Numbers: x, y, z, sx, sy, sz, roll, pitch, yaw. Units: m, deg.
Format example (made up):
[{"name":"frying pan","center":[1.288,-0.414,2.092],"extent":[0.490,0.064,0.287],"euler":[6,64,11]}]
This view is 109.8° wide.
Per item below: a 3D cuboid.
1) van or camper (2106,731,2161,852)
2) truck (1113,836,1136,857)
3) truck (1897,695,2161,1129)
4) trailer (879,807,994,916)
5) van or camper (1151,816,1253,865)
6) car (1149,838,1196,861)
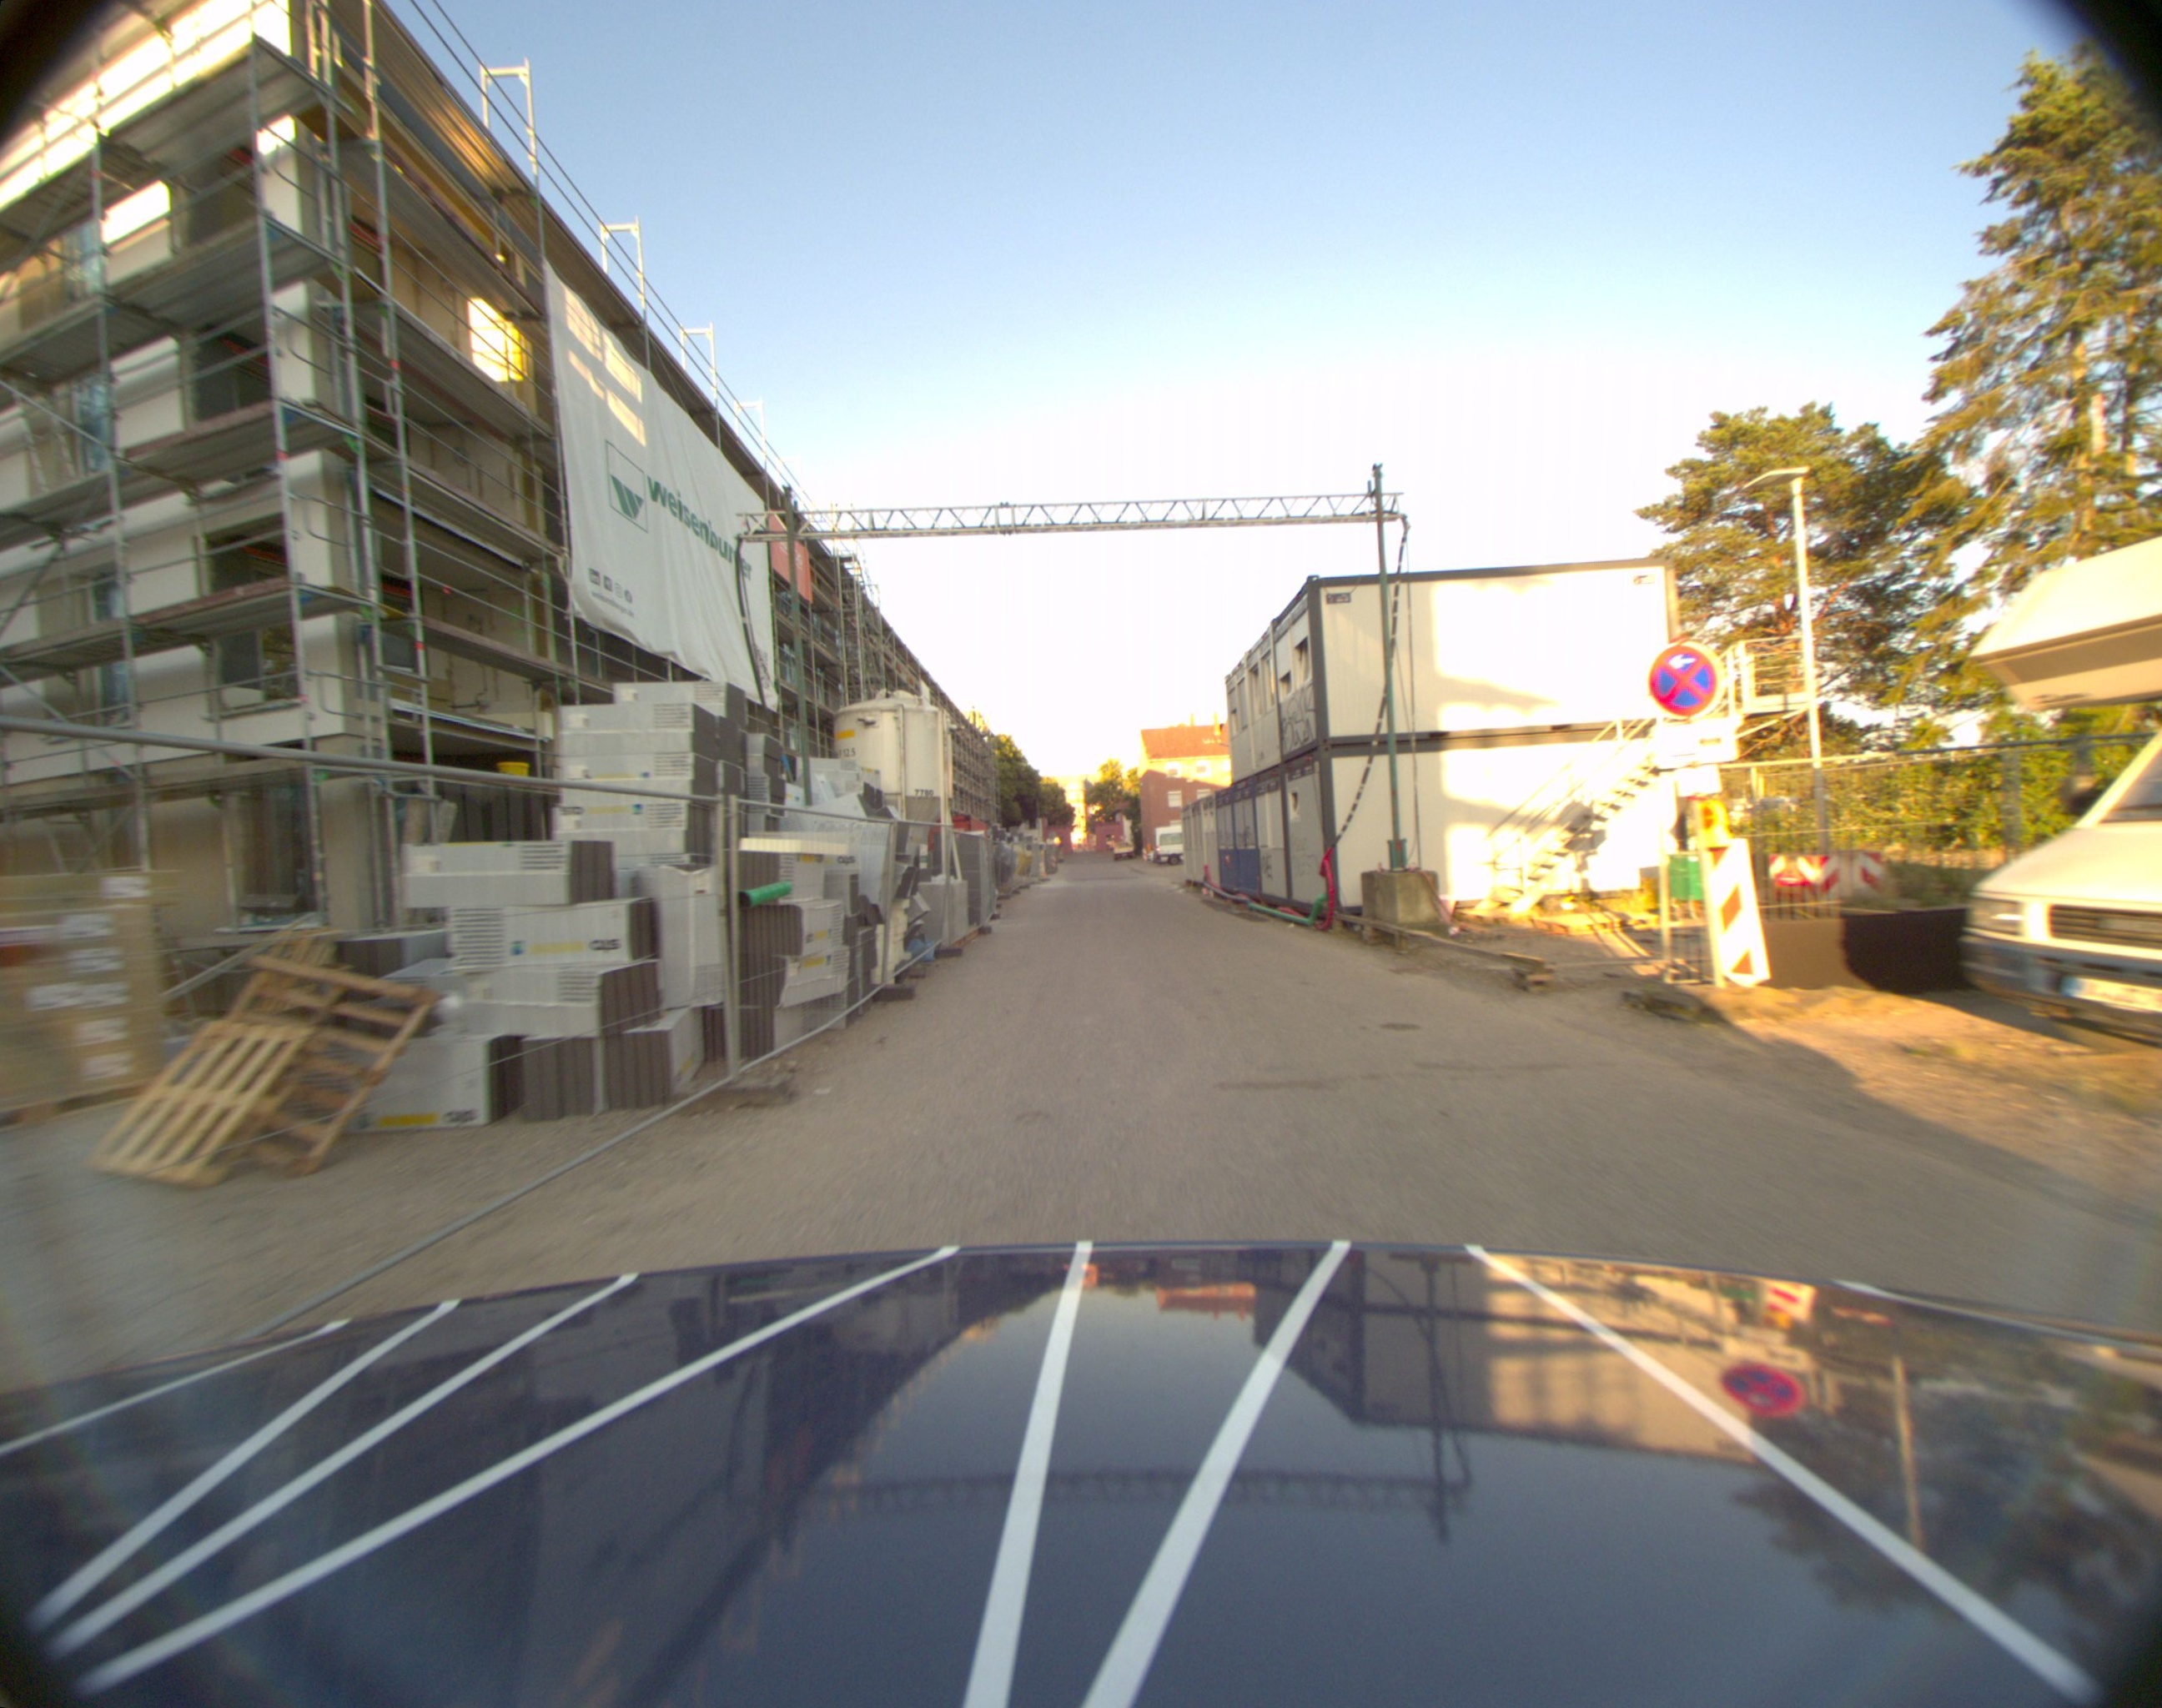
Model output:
[{"name":"van or camper","center":[25.739,-1.467,15.377],"extent":[2.261,2.754,5.800],"euler":[-4,1,3]},{"name":"truck","center":[4.738,-0.856,83.092],"extent":[1.842,2.089,3.738],"euler":[-6,1,-6]},{"name":"truck","center":[8.033,0.091,3.351],"extent":[6.025,2.031,2.356],"euler":[-4,1,4]},{"name":"trailer","center":[-4.346,0.174,24.133],"extent":[2.581,2.895,6.235],"euler":[-3,1,-2]},{"name":"van or camper","center":[8.201,-0.897,52.109],"extent":[6.469,2.625,2.407],"euler":[-6,1,2]},{"name":"car","center":[7.660,-0.365,63.882],"extent":[3.726,1.507,1.809],"euler":[-6,1,3]}]
